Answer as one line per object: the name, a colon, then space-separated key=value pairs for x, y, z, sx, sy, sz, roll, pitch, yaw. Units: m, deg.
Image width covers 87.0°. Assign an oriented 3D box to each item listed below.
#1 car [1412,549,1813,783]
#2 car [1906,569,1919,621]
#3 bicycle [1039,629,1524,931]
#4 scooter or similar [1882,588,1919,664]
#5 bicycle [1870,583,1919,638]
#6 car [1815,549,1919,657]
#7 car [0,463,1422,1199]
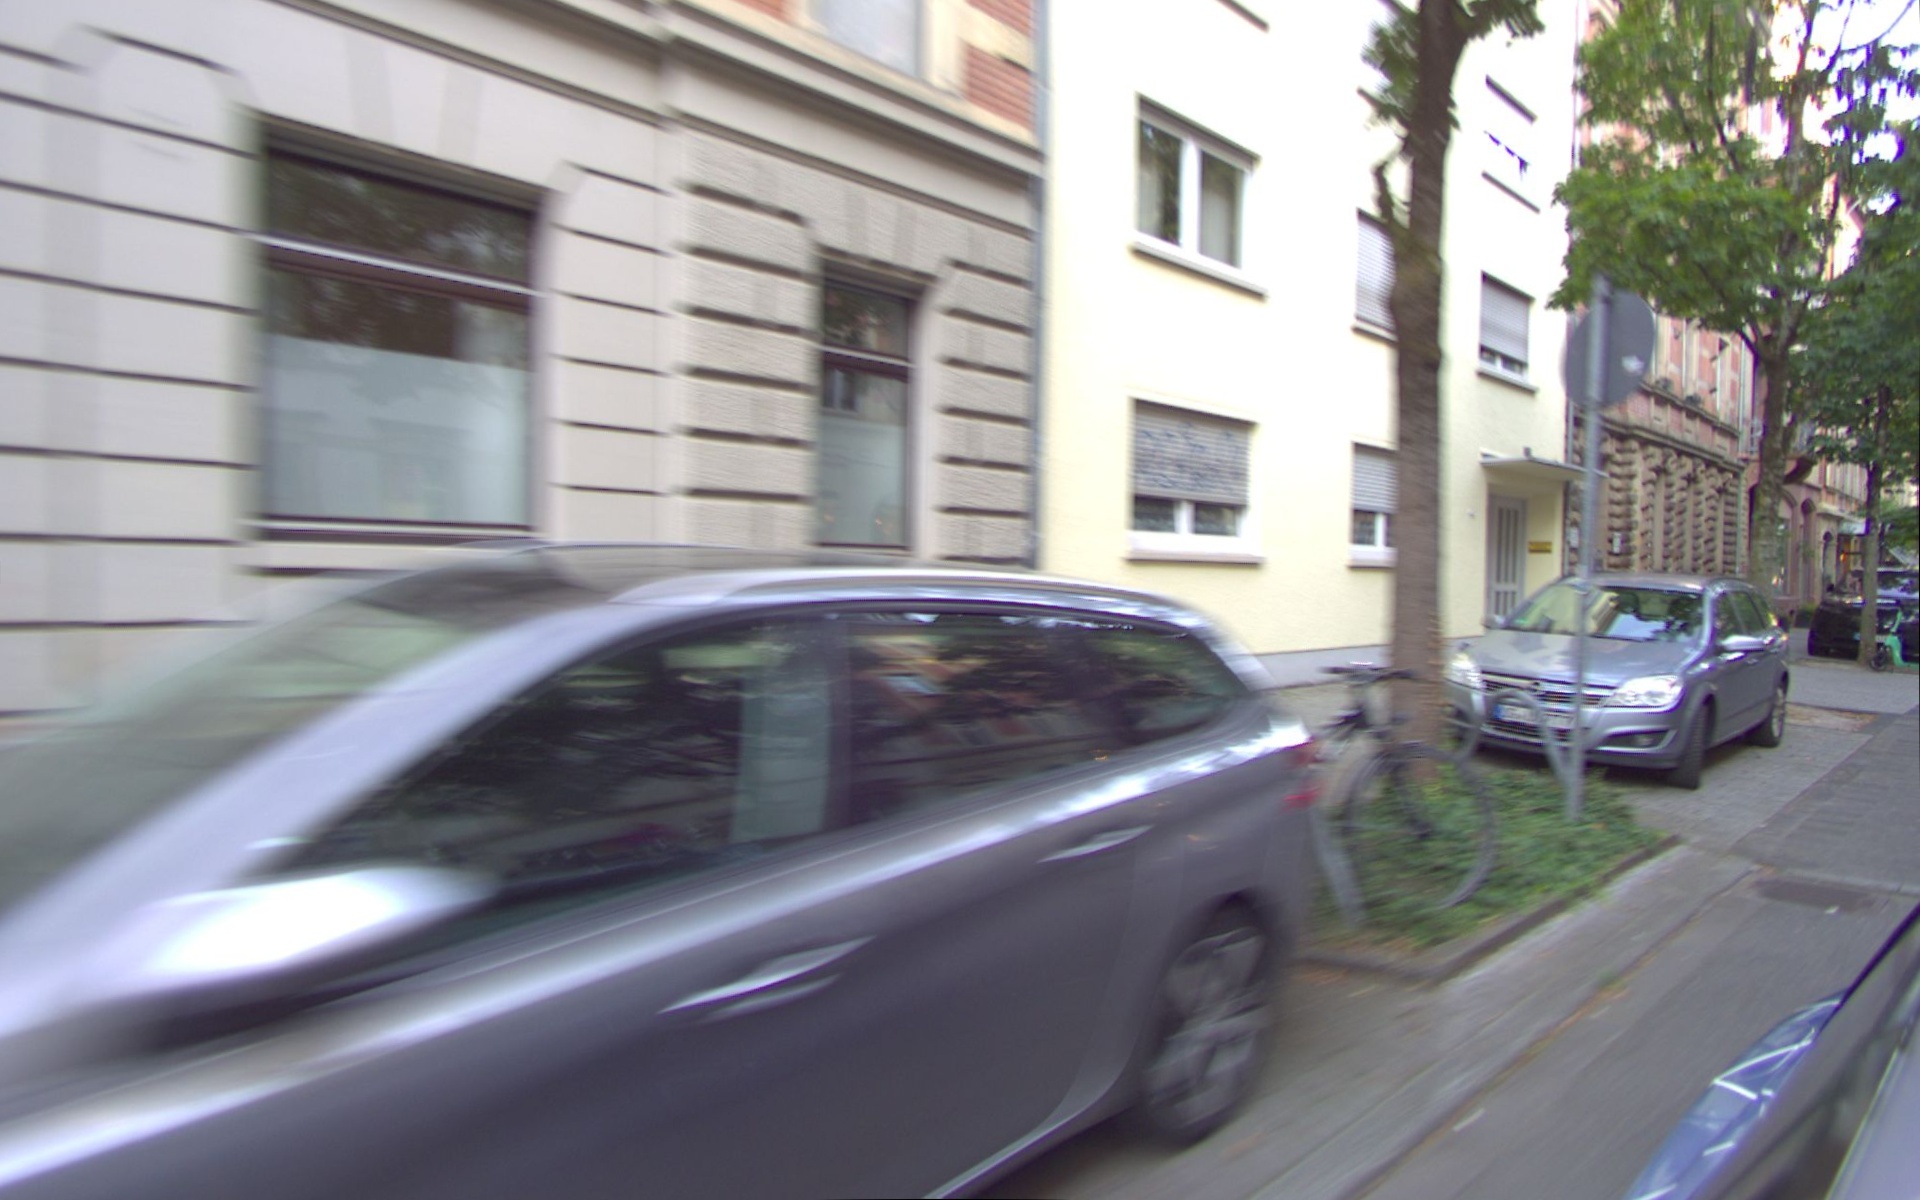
car: x=5.630 y=0.367 z=8.498 sx=4.234 sy=1.481 sz=1.761 roll=-1 pitch=3 yaw=-42
car: x=31.739 y=-0.057 z=31.696 sx=1.769 sy=1.618 sz=2.805 roll=-1 pitch=5 yaw=-40
bicycle: x=1.346 y=0.678 z=4.414 sx=1.904 sy=0.994 sz=0.632 roll=2 pitch=2 yaw=28
scooter or similar: x=16.068 y=0.434 z=16.645 sx=1.094 sy=1.204 sz=0.676 roll=2 pitch=3 yaw=-1
bicycle: x=23.894 y=0.278 z=25.148 sx=0.788 sy=1.309 sz=1.765 roll=0 pitch=4 yaw=-41
car: x=18.465 y=0.031 z=19.717 sx=4.727 sy=1.855 sz=2.018 roll=-1 pitch=4 yaw=-42
car: x=-0.690 y=0.551 z=2.410 sx=4.295 sy=1.494 sz=1.719 roll=-1 pitch=4 yaw=-43
